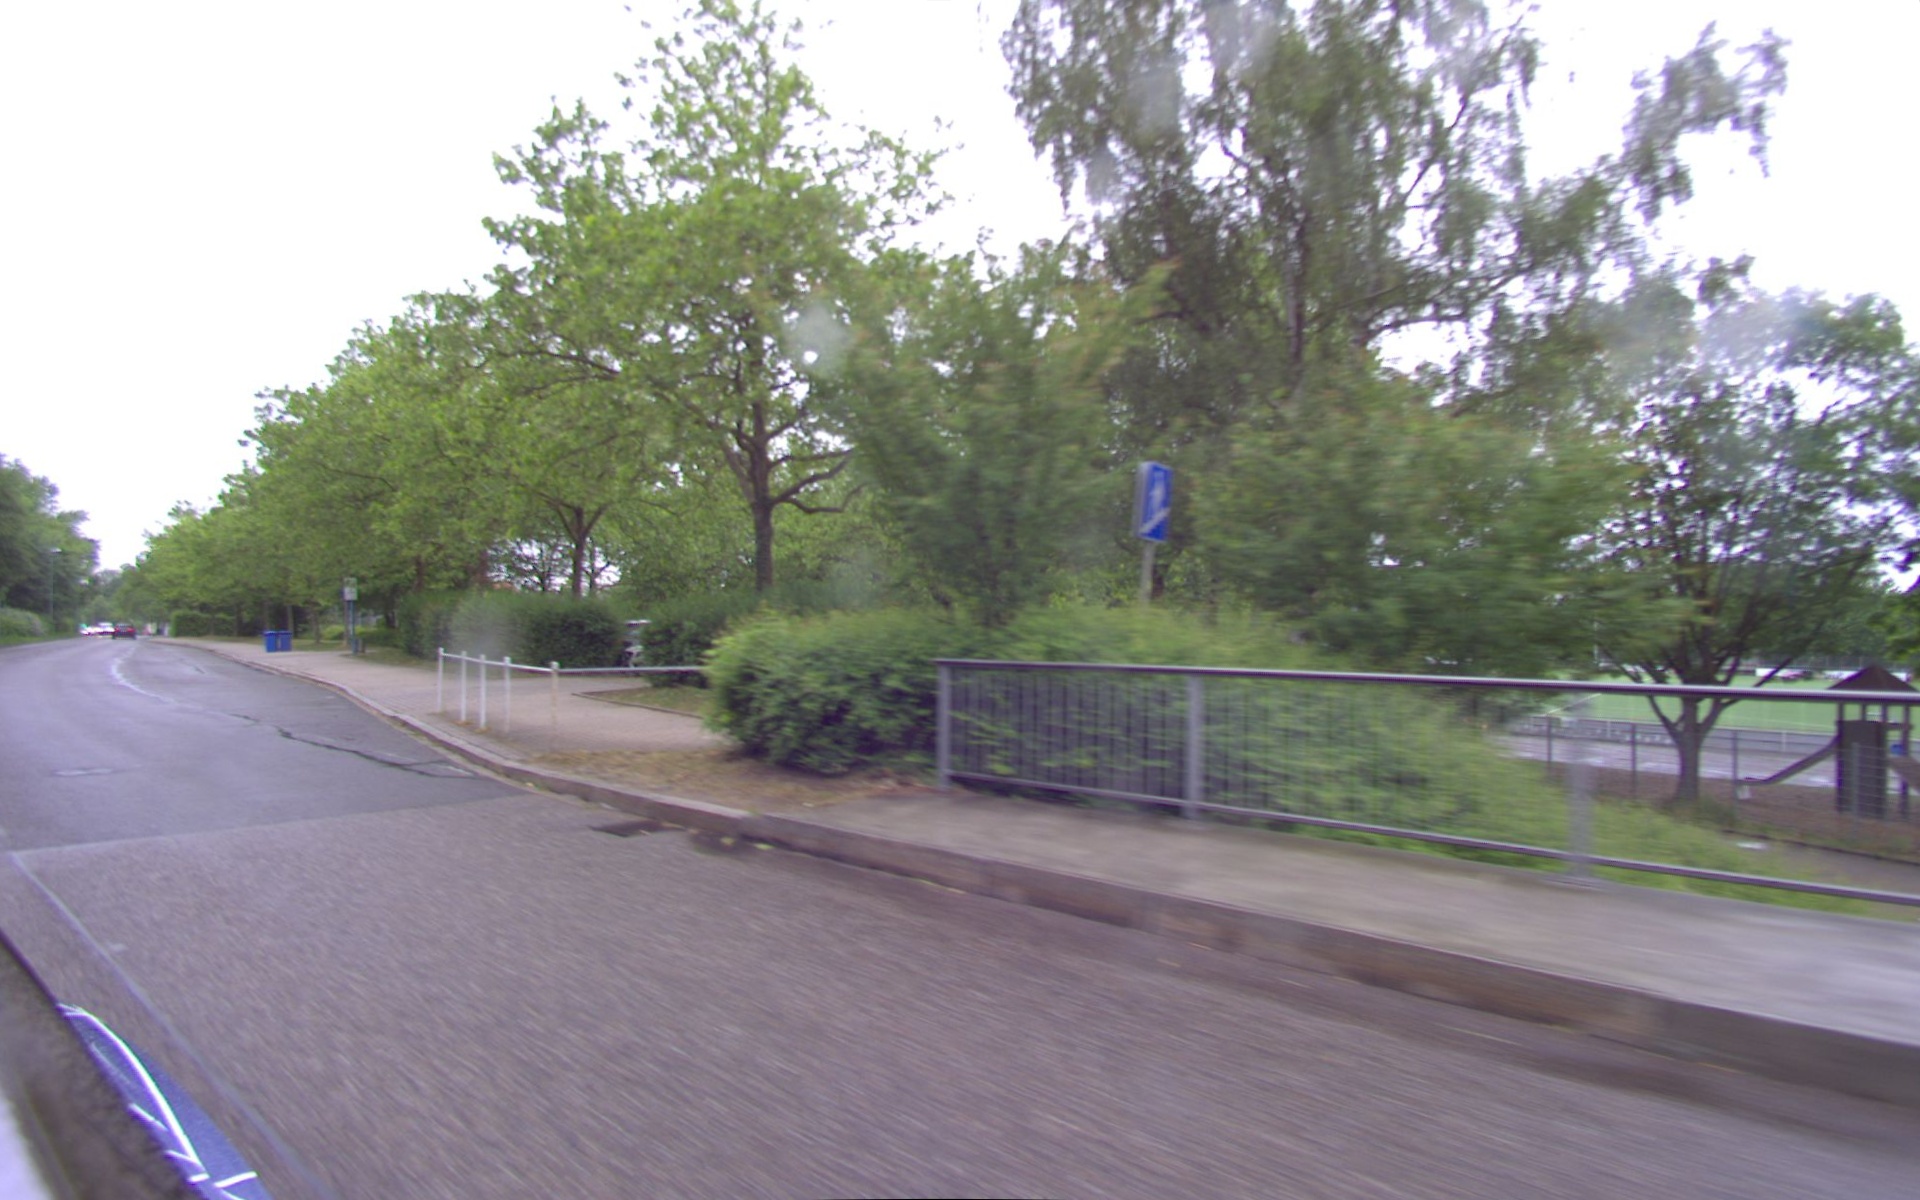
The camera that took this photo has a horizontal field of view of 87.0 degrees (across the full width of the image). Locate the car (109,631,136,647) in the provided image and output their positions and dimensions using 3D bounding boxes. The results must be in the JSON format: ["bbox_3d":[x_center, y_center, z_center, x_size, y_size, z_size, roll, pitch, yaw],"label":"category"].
[{"bbox_3d":[-80.385,3.742,97.128,1.803,1.476,4.008,2,-3,-38],"label":"car"}]

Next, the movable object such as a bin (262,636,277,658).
[{"bbox_3d":[-35.930,2.458,52.664,0.559,1.107,0.673,-2,0,-37],"label":"movable object such as a bin"}]

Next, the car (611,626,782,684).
[{"bbox_3d":[-7.676,1.635,29.647,4.437,1.522,1.805,4,-5,-33],"label":"car"}]

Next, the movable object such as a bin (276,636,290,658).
[{"bbox_3d":[-35.578,2.455,53.182,0.559,1.107,0.673,-2,0,-37],"label":"movable object such as a bin"}]
